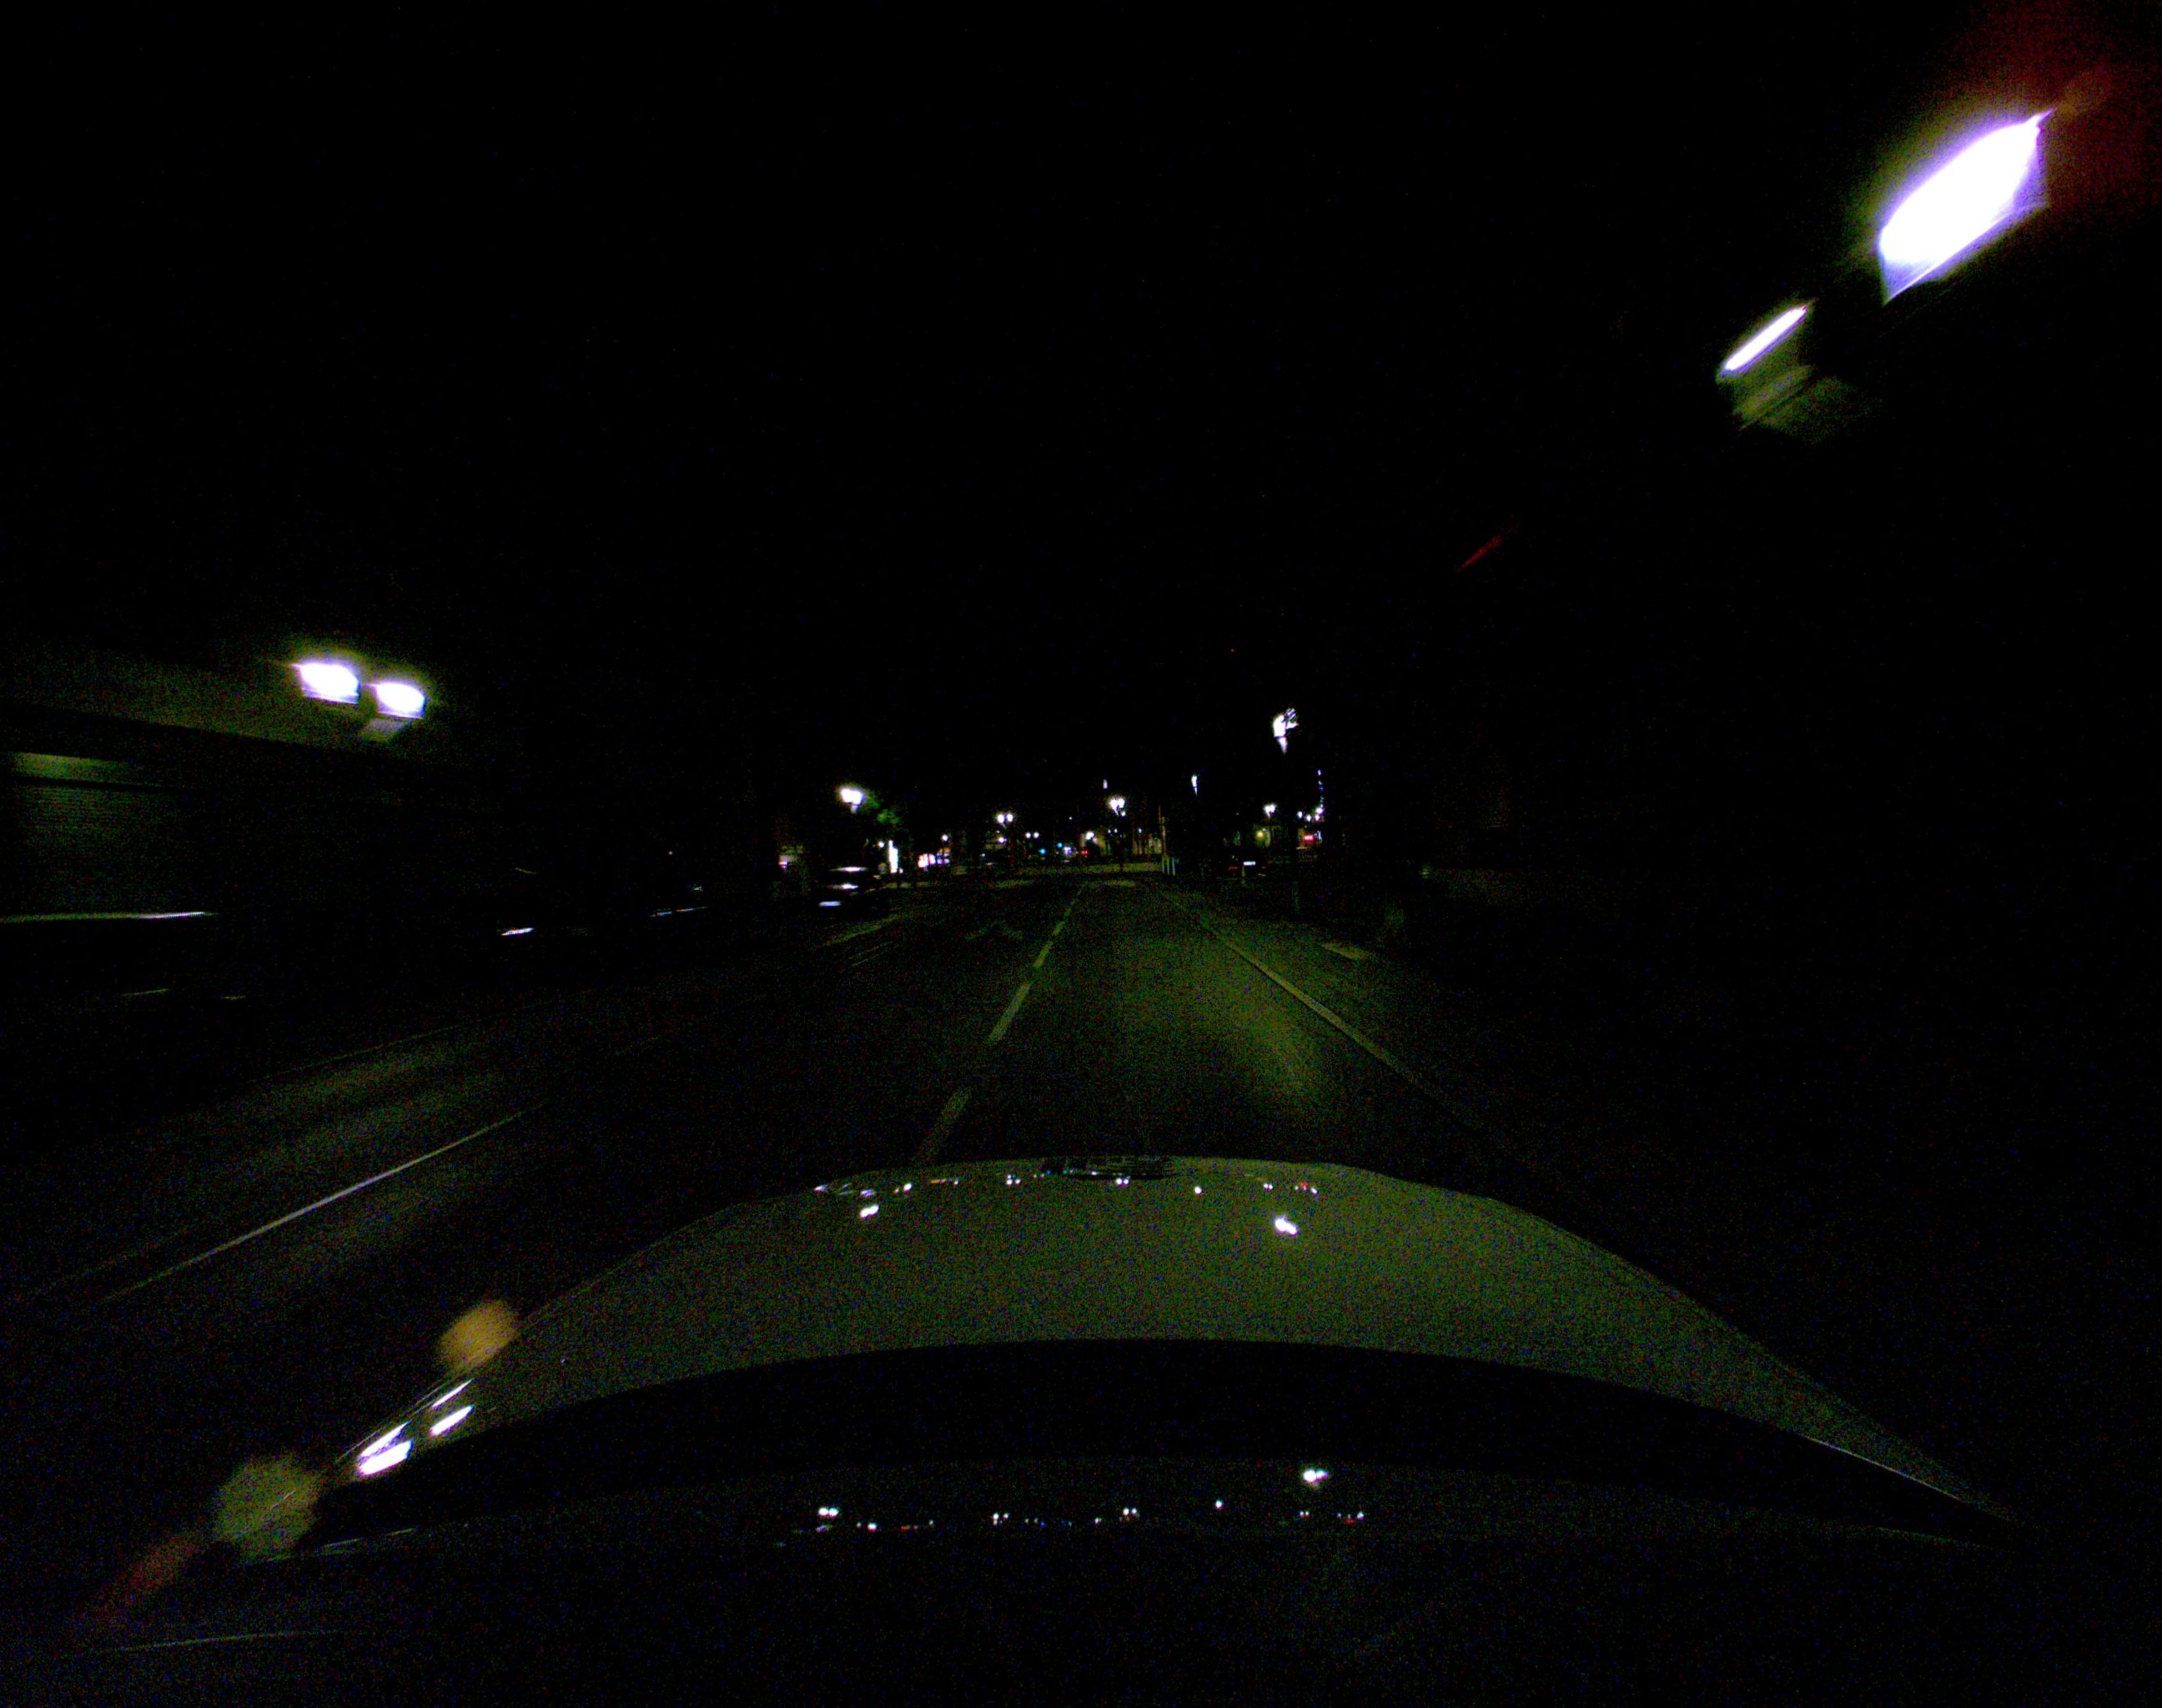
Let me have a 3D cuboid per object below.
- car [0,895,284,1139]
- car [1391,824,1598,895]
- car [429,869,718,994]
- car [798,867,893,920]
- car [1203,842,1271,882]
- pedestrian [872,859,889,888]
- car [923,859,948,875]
[{"bbox_3d":[-7.983,1.135,5.221,1.779,1.491,4.000,-1,0,0],"label":"car"},{"bbox_3d":[10.611,0.136,21.191,4.404,1.459,1.793,-4,1,6],"label":"car"},{"bbox_3d":[-7.934,1.109,13.347,1.777,1.582,4.415,-1,0,3],"label":"car"},{"bbox_3d":[-7.406,1.183,25.999,1.779,1.415,4.126,-2,0,0],"label":"car"},{"bbox_3d":[6.519,0.320,34.597,1.729,1.459,4.723,-3,0,-2],"label":"car"},{"bbox_3d":[-12.661,1.248,51.500,0.683,1.822,0.730,-4,-2,45],"label":"pedestrian"},{"bbox_3d":[-15.525,1.345,87.251,1.989,1.574,4.324,-4,0,-3],"label":"car"}]
